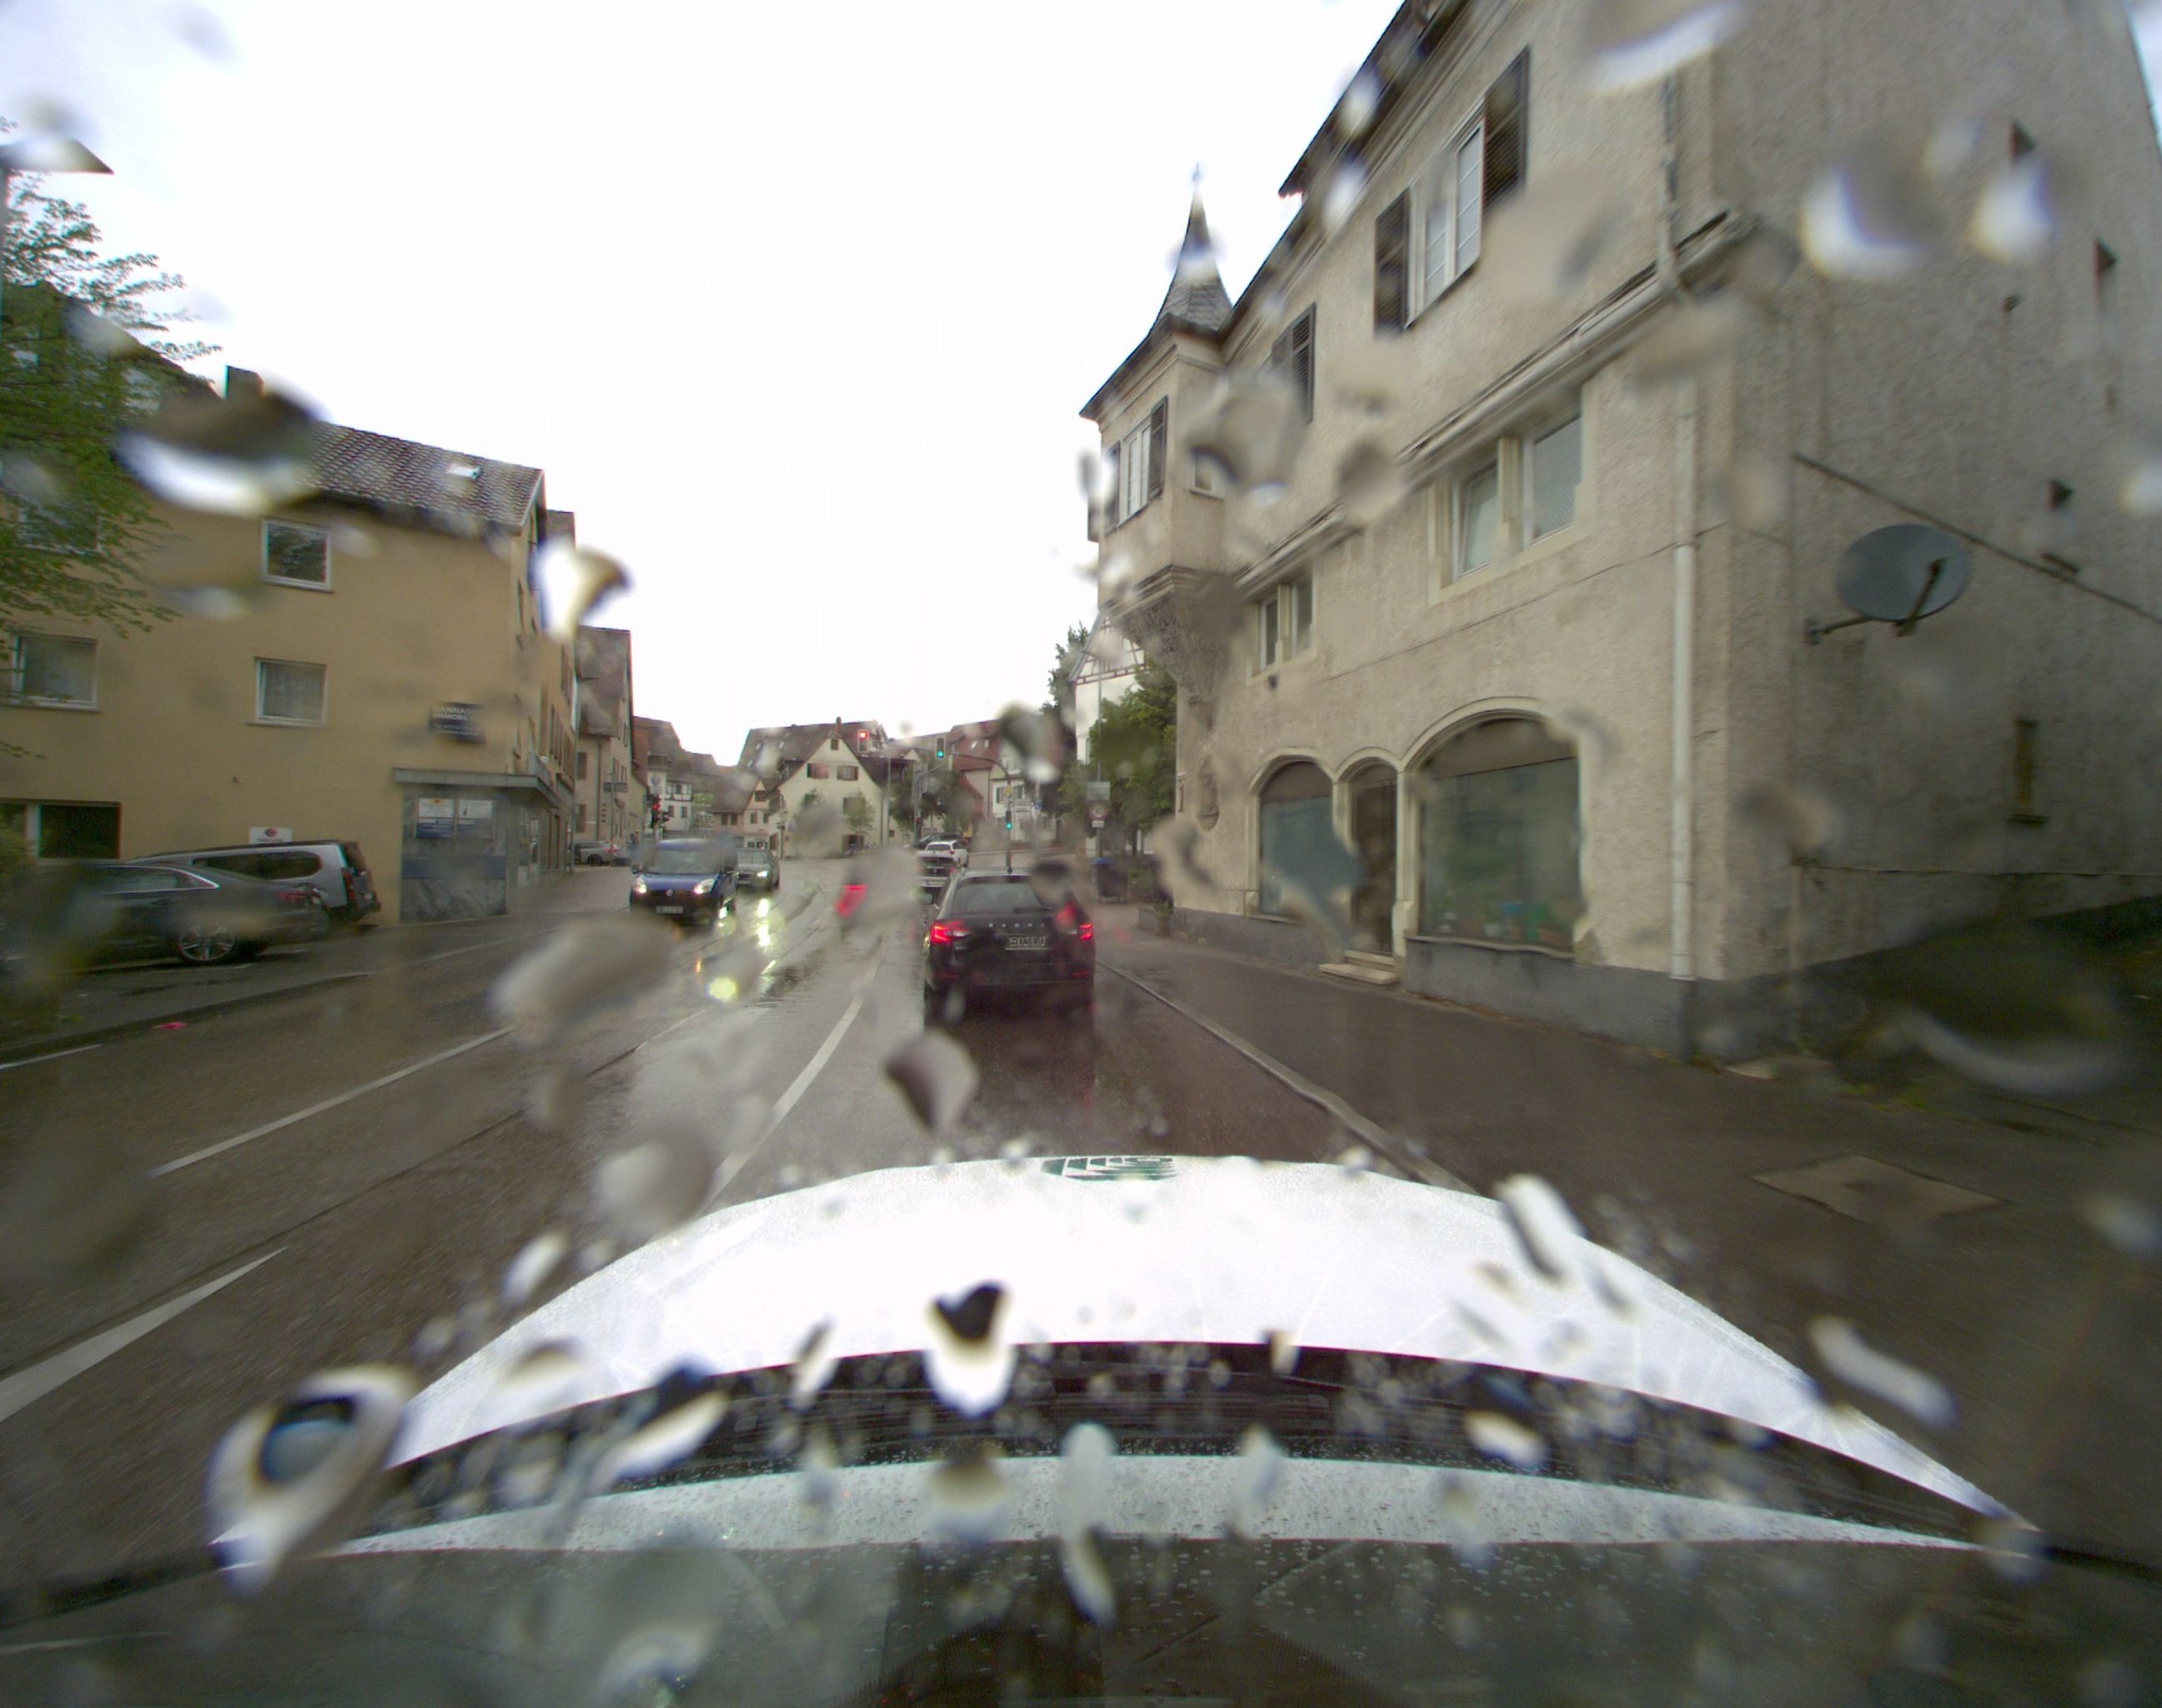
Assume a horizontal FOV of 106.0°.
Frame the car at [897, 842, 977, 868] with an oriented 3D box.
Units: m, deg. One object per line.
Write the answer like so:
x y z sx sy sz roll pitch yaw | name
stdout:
-9.260 0.045 52.450 4.761 1.588 1.813 0 0 -29 | car

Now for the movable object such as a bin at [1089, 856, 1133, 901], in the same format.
0.879 0.728 24.386 1.153 1.313 1.183 0 0 -7 | movable object such as a bin

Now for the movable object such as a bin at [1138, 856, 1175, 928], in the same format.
1.565 0.781 16.872 0.415 1.442 0.637 1 -3 -37 | movable object such as a bin

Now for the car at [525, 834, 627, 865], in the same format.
-27.817 -0.242 45.042 4.481 1.591 1.986 1 0 -22 | car

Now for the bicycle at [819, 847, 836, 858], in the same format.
-19.135 -0.109 61.553 0.334 0.818 1.445 3 3 23 | bicycle

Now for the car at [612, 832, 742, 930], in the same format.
-9.018 0.493 18.569 1.999 1.881 4.353 0 2 -18 | car

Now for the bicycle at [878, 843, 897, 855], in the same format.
-15.514 -0.388 65.364 0.388 0.912 1.478 5 4 44 | bicycle

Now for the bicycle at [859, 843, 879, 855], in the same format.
-16.786 -0.413 64.501 0.388 0.912 1.478 5 4 44 | bicycle

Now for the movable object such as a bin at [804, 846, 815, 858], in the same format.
-20.691 -0.162 62.077 0.592 0.901 0.577 0 1 -44 | movable object such as a bin

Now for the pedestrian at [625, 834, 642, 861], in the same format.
-31.209 -0.448 56.830 0.803 1.830 0.705 -5 4 -43 | pedestrian

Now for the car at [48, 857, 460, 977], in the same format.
-11.817 0.808 12.122 4.017 1.454 1.879 -1 -1 -36 | car

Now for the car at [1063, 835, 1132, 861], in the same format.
1.081 -0.359 53.537 3.997 1.302 1.988 5 -2 -18 | car

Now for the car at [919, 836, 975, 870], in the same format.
-6.645 -0.080 40.781 1.878 1.596 4.328 1 0 2 | car

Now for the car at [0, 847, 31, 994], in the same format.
-13.336 0.735 7.792 3.664 1.629 1.977 0 0 -40 | car

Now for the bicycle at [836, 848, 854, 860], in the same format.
-18.249 0.002 62.960 0.387 0.912 1.479 1 0 32 | bicycle

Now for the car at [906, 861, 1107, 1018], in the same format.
-0.952 0.820 9.872 1.885 1.448 4.346 0 -1 -7 | car

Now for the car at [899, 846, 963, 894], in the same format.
-5.261 0.500 28.203 1.860 1.473 3.980 0 1 -15 | car

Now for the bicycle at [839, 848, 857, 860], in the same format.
-17.926 -0.001 62.600 0.387 0.912 1.479 1 0 32 | bicycle

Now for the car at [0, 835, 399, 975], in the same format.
-15.888 0.782 14.805 4.952 1.824 1.943 -6 5 -32 | car

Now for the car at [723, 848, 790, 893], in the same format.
-11.041 0.505 27.933 1.866 1.387 4.237 0 0 -18 | car
